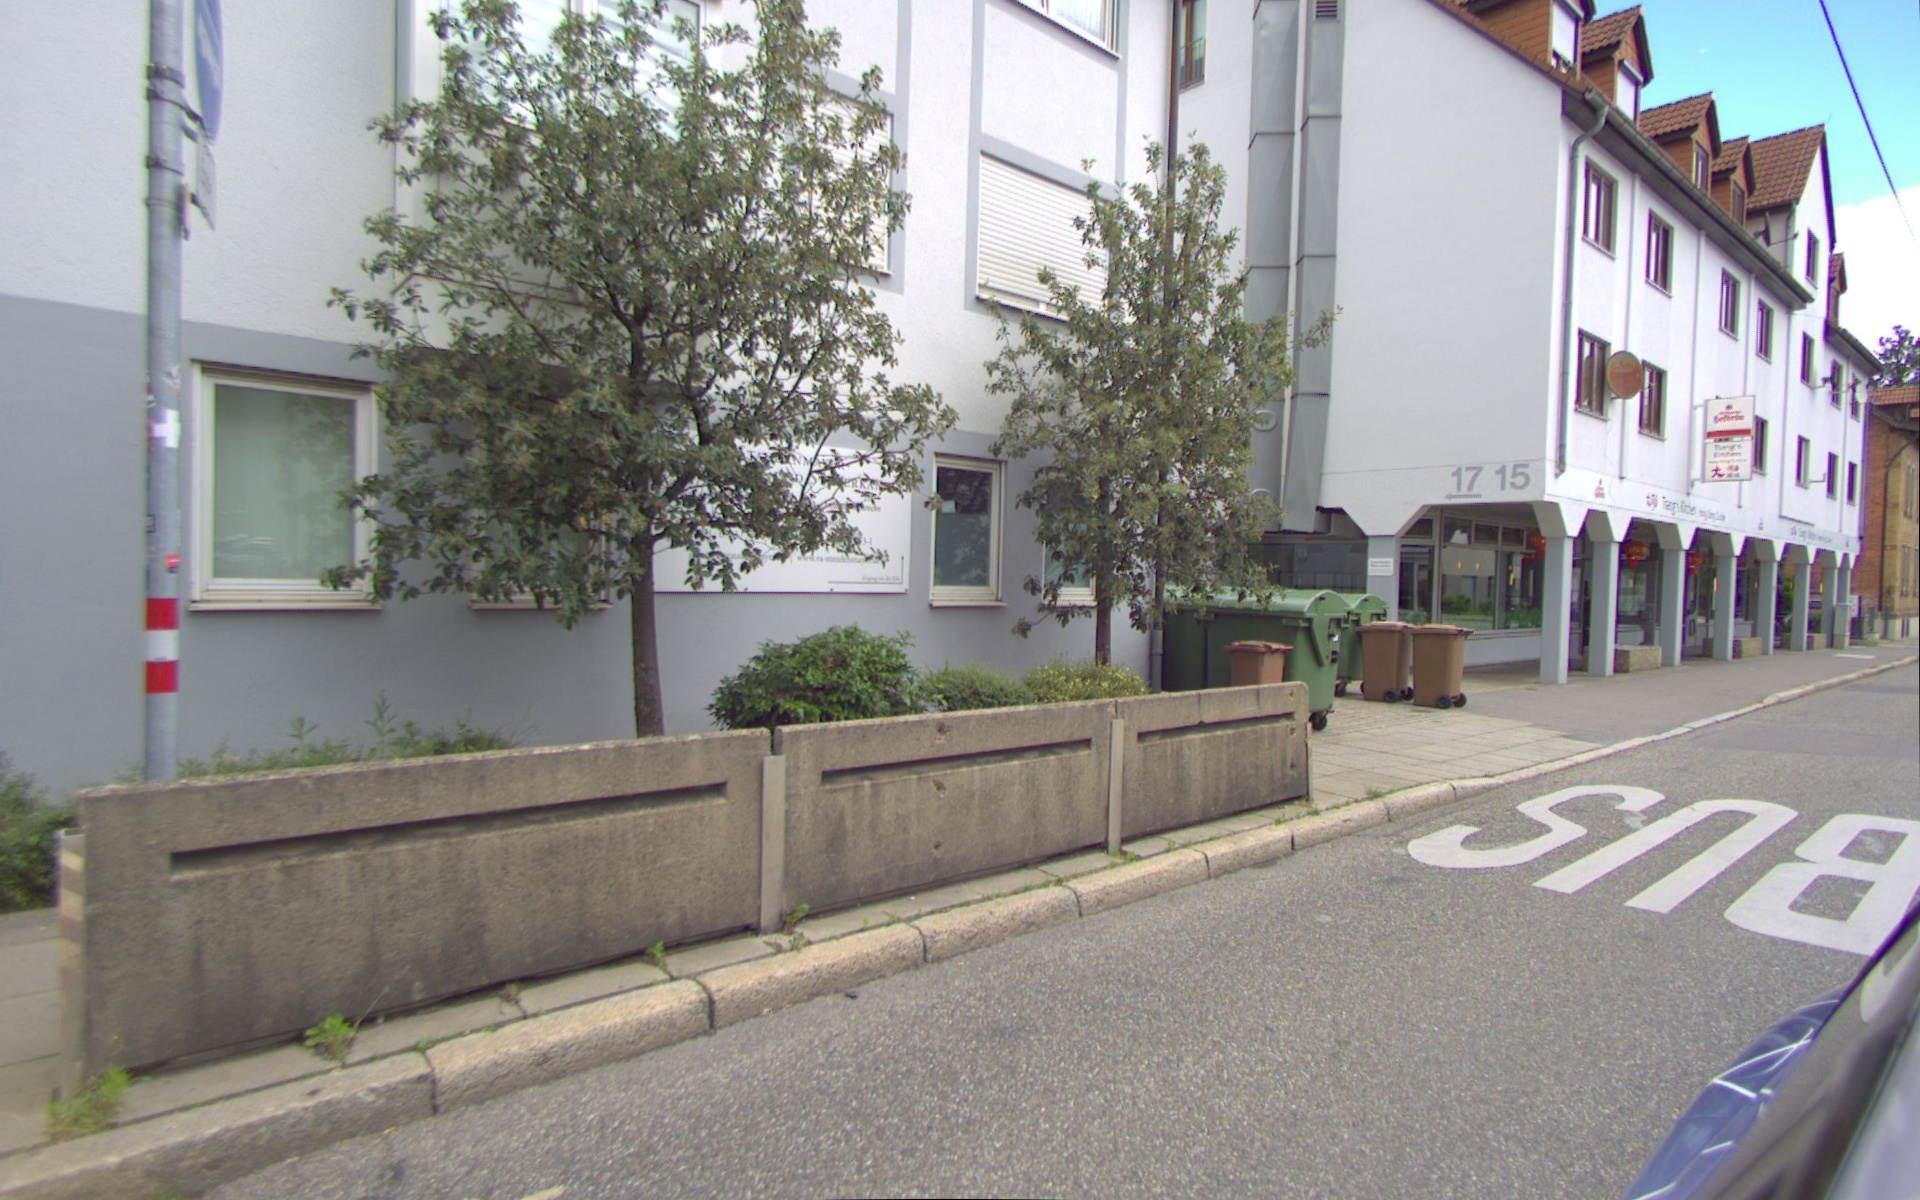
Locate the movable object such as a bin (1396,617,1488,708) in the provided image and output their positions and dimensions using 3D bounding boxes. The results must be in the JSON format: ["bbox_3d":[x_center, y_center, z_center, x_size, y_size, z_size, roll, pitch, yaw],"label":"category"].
[{"bbox_3d":[6.230,0.784,13.086,0.953,1.080,0.685,1,1,-37],"label":"movable object such as a bin"}]

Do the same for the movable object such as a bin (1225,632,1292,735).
[{"bbox_3d":[2.895,0.797,9.824,0.457,0.932,0.431,1,1,-41],"label":"movable object such as a bin"}]

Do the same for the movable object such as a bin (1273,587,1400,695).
[{"bbox_3d":[5.428,0.558,14.616,1.236,1.435,1.213,1,1,-37],"label":"movable object such as a bin"}]

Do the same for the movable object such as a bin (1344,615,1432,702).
[{"bbox_3d":[5.779,0.765,13.663,0.953,1.092,0.700,1,1,-37],"label":"movable object such as a bin"}]

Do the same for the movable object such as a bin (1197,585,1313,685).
[{"bbox_3d":[4.561,0.511,15.672,1.236,1.435,1.213,1,1,-37],"label":"movable object such as a bin"}]

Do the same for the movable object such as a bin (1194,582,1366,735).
[{"bbox_3d":[3.329,0.553,10.554,1.142,1.435,1.270,1,1,-40],"label":"movable object such as a bin"}]

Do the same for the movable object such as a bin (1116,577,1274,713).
[{"bbox_3d":[2.747,0.478,11.846,1.284,1.452,1.270,0,1,-41],"label":"movable object such as a bin"}]
